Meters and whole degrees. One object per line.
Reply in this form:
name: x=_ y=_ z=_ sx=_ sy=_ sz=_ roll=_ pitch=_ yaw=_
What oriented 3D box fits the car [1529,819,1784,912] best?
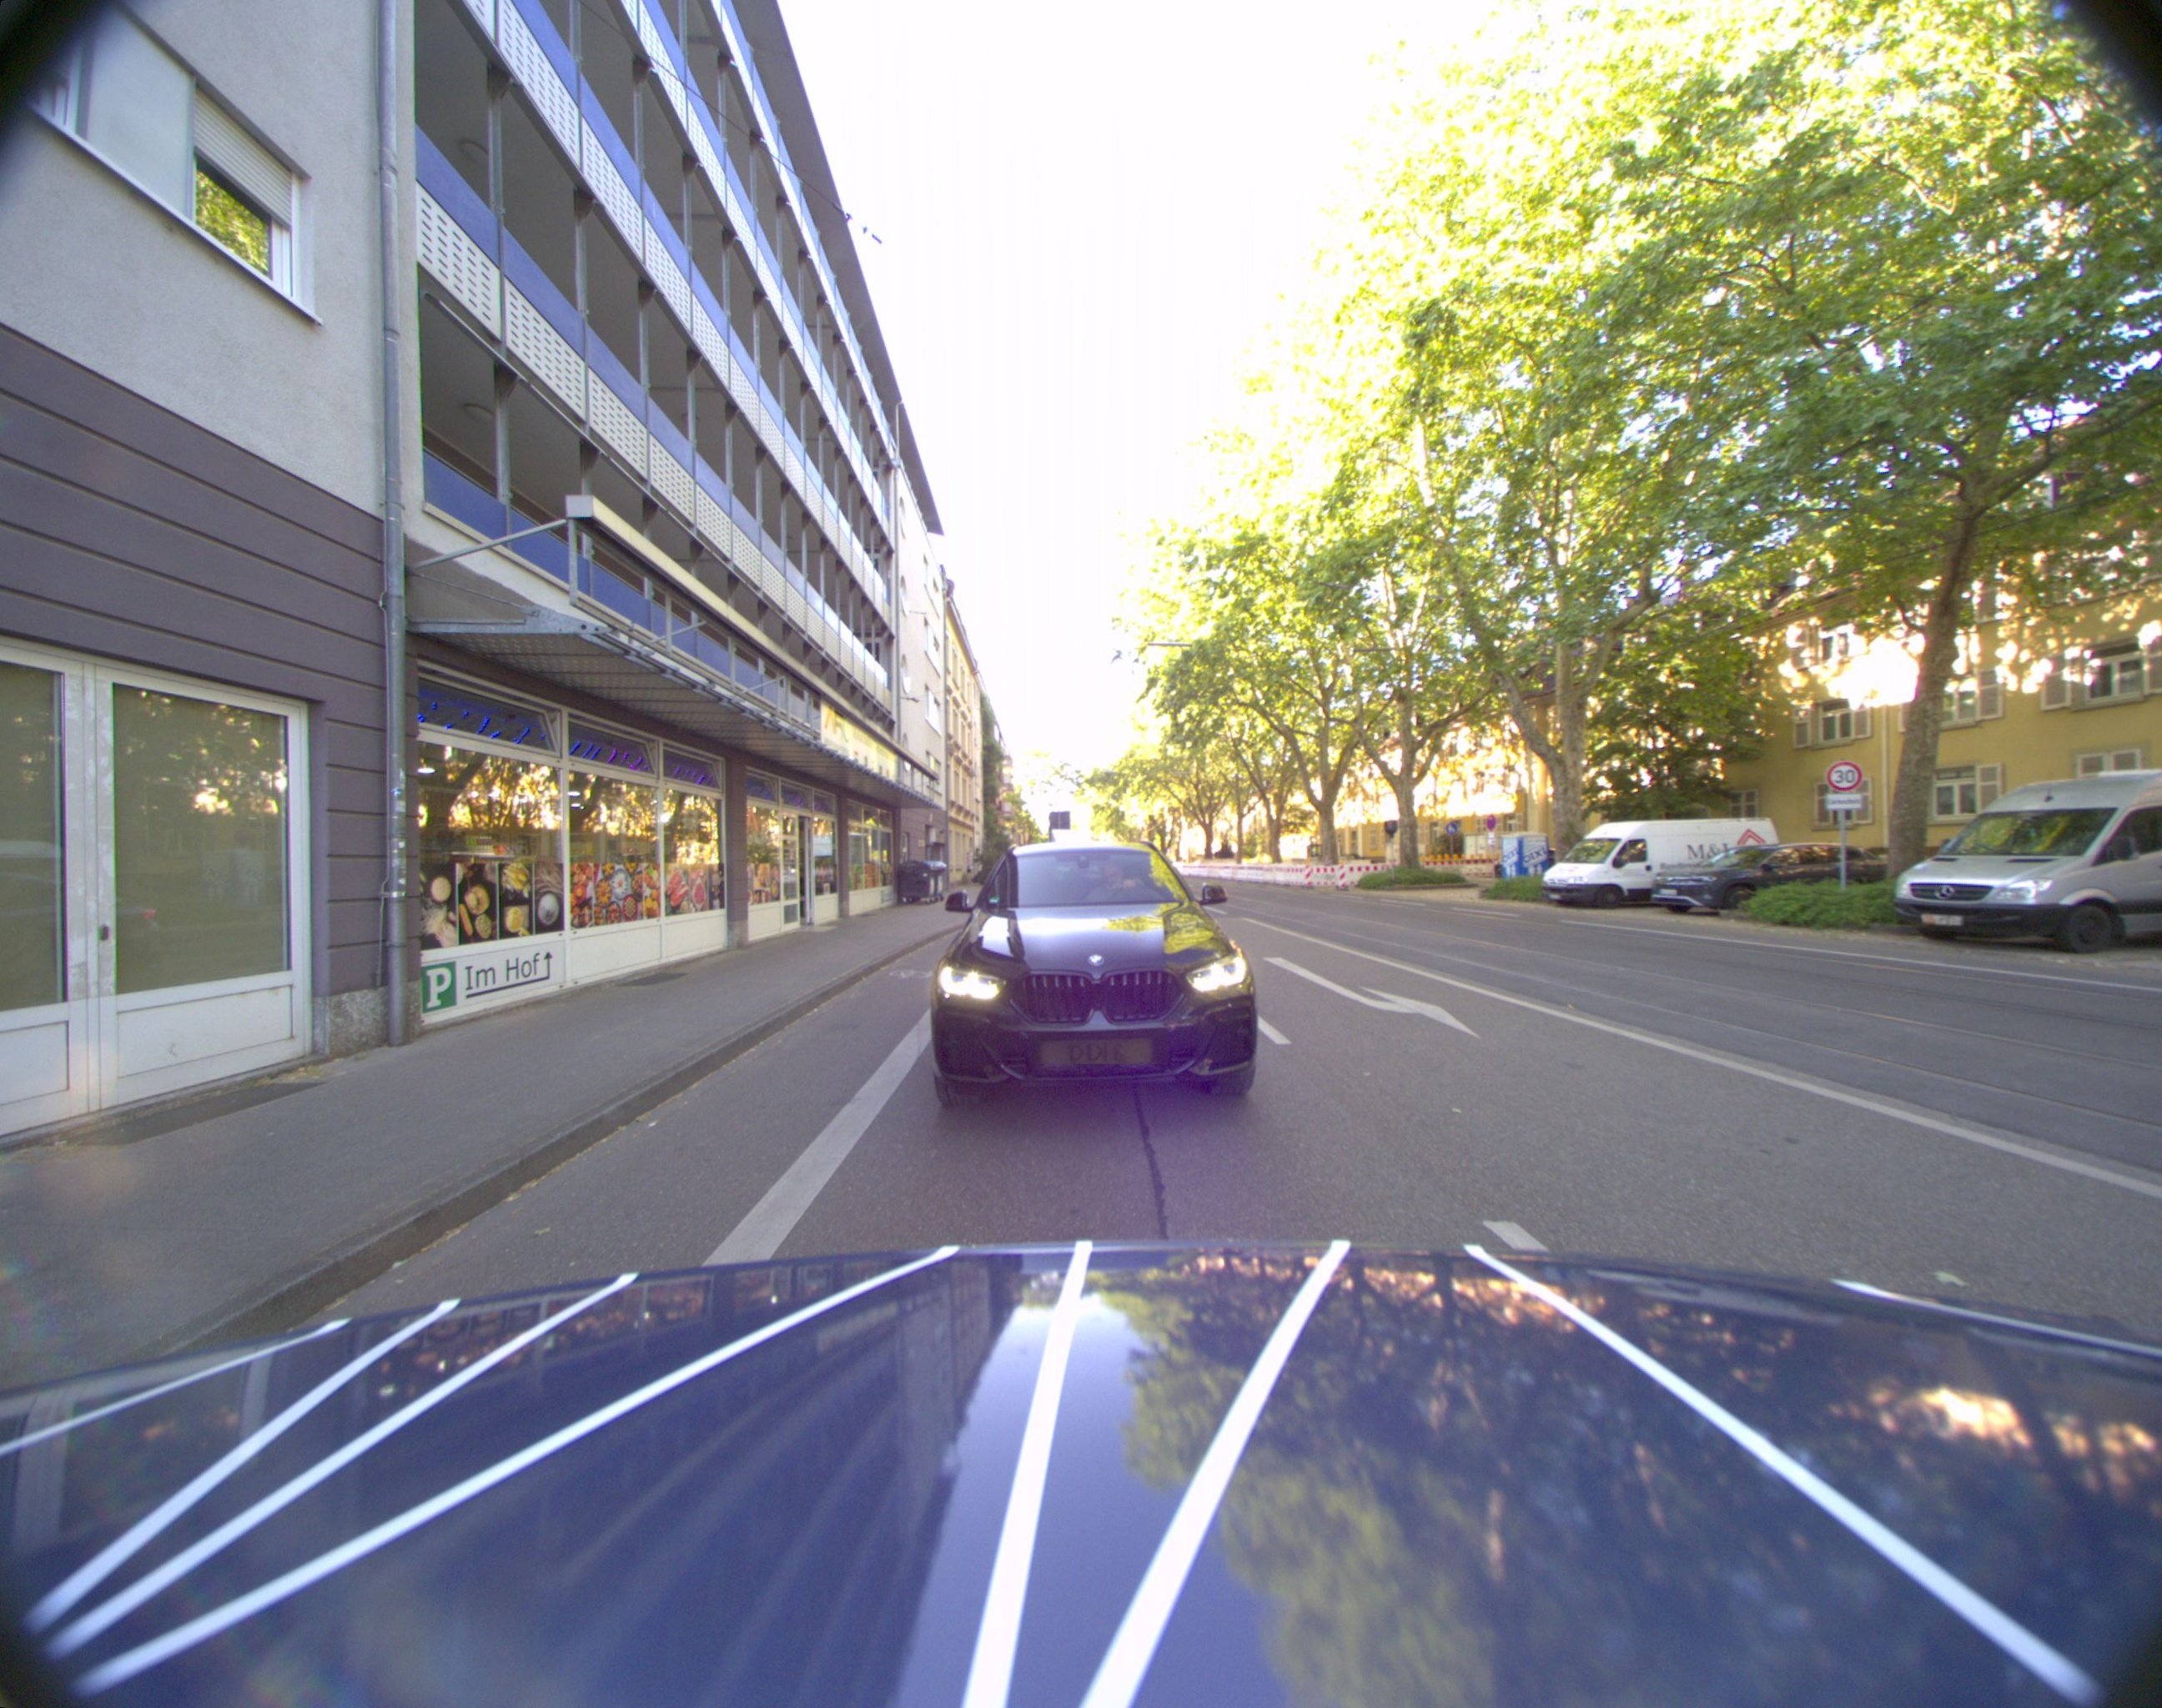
car: x=15.843 y=0.297 z=21.149 sx=5.404 sy=2.362 sz=2.223 roll=-1 pitch=0 yaw=0

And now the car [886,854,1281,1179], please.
car: x=0.041 y=0.843 z=6.043 sx=1.998 sy=1.643 sz=4.295 roll=-1 pitch=0 yaw=1

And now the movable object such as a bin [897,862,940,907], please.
movable object such as a bin: x=-5.264 y=0.976 z=24.647 sx=1.158 sy=1.418 sz=0.939 roll=-1 pitch=0 yaw=1

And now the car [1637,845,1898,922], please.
car: x=16.076 y=0.665 z=17.941 sx=4.627 sy=1.642 sz=1.774 roll=-1 pitch=0 yaw=-2

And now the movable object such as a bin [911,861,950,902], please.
movable object such as a bin: x=-5.285 y=0.957 z=26.685 sx=1.158 sy=1.418 sz=0.939 roll=-1 pitch=0 yaw=1

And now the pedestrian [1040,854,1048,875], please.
pedestrian: x=-3.476 y=0.988 z=71.344 sx=0.733 sy=1.875 sz=0.664 roll=-2 pitch=1 yaw=-1

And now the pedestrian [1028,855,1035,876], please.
pedestrian: x=-4.589 y=1.071 z=70.167 sx=0.600 sy=1.875 sz=0.581 roll=-2 pitch=1 yaw=-1

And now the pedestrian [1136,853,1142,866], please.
pedestrian: x=8.092 y=0.774 z=106.090 sx=0.733 sy=1.875 sz=0.741 roll=-2 pitch=1 yaw=-3

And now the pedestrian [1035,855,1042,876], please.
pedestrian: x=-3.928 y=1.044 z=70.266 sx=0.600 sy=1.875 sz=0.581 roll=-2 pitch=1 yaw=-1

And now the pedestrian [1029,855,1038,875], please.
pedestrian: x=-4.455 y=1.039 z=71.628 sx=0.733 sy=1.875 sz=0.664 roll=-2 pitch=1 yaw=-1

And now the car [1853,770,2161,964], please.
car: x=15.983 y=0.135 z=11.859 sx=5.666 sy=2.666 sz=2.223 roll=-2 pitch=0 yaw=-2

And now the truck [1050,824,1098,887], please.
truck: x=-0.317 y=0.128 z=42.192 sx=2.394 sy=3.170 sz=6.587 roll=-1 pitch=0 yaw=1

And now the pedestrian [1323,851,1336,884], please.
pedestrian: x=13.232 y=0.723 z=40.443 sx=0.582 sy=1.735 sz=0.653 roll=-2 pitch=1 yaw=24
